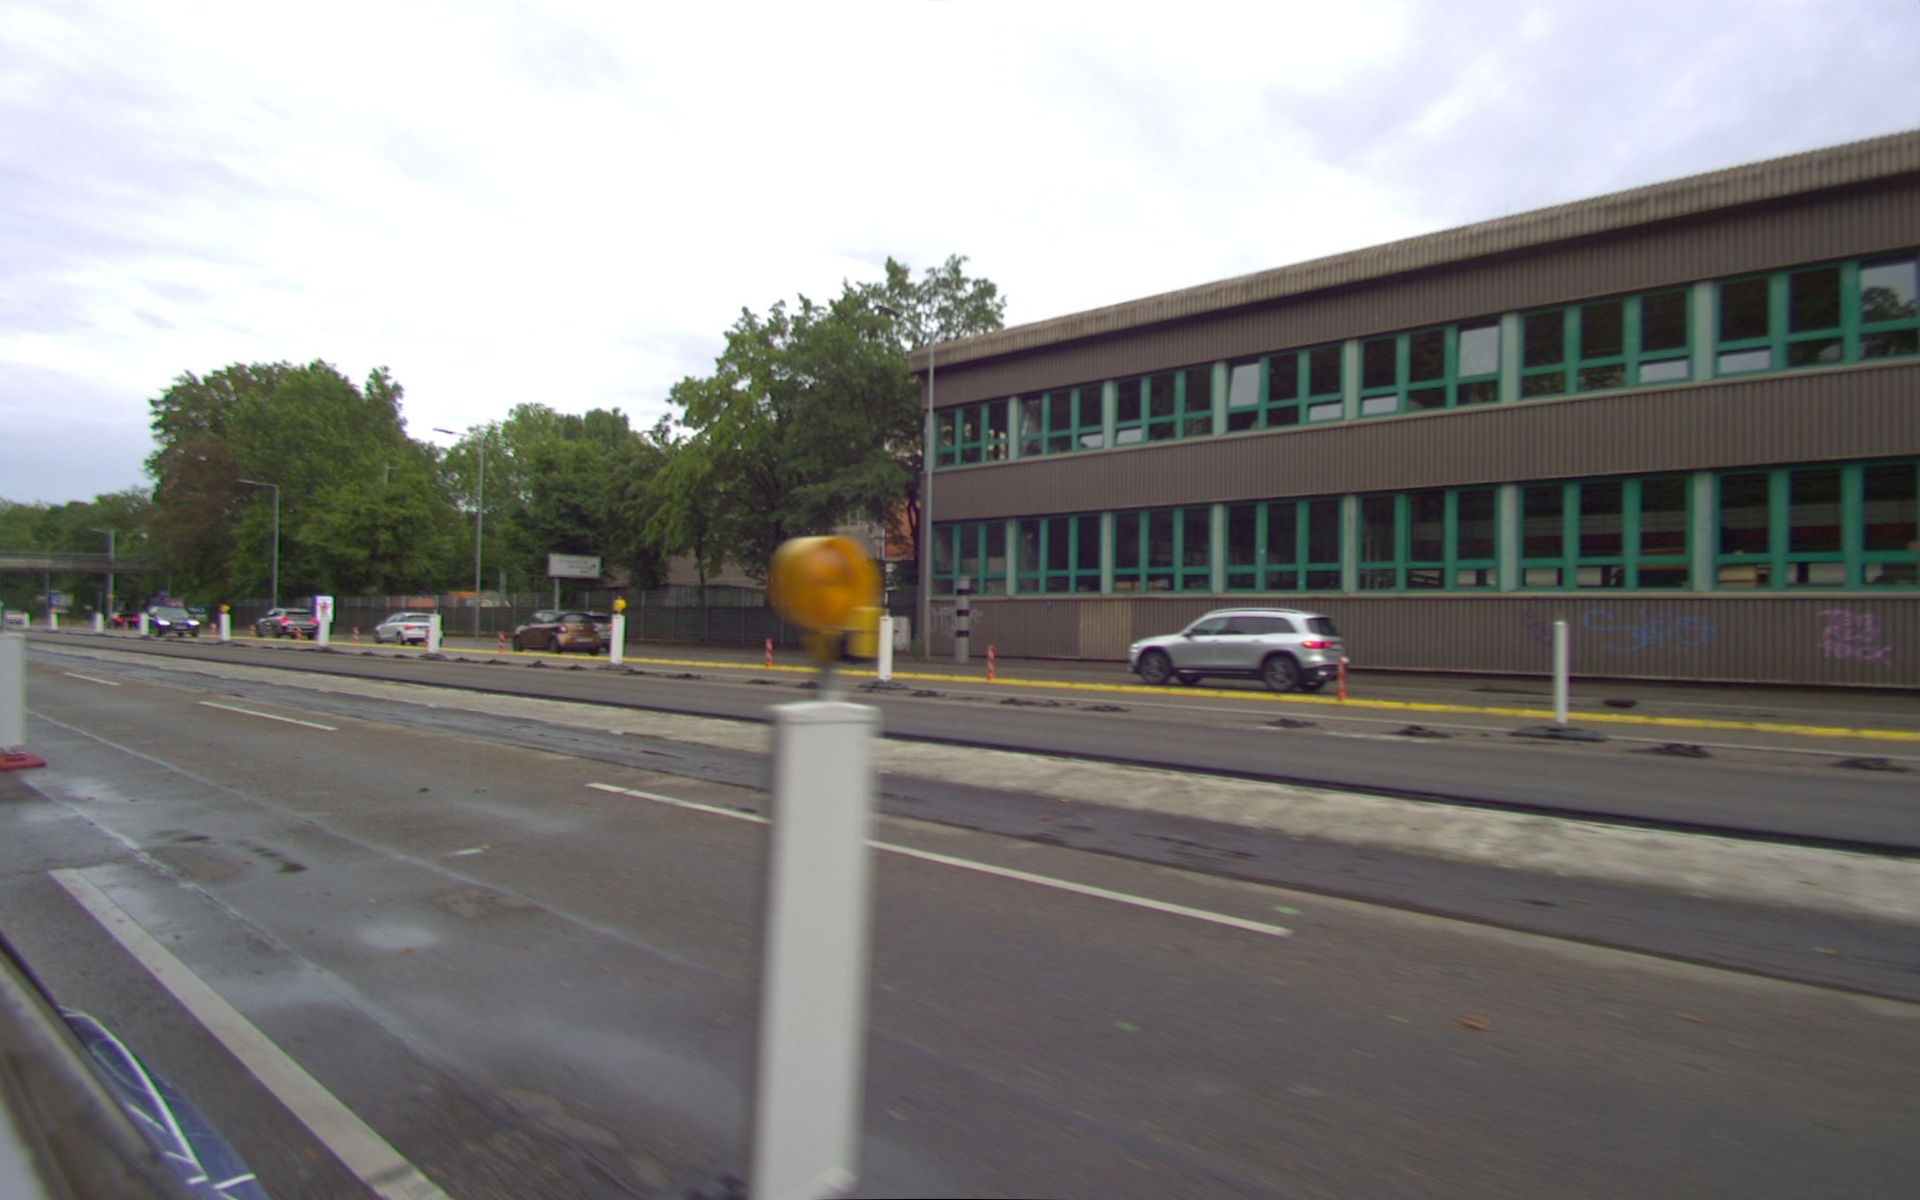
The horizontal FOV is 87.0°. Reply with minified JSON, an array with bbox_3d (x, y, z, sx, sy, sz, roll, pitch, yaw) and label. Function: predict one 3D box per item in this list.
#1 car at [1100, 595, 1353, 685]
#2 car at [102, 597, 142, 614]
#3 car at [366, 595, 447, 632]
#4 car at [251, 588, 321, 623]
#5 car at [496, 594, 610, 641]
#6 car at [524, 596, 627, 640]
[{"bbox_3d":[5.619,0.759,21.727,4.930,1.719,1.919,0,0,39],"label":"car"},{"bbox_3d":[-74.885,0.495,90.446,4.260,1.440,1.974,0,-1,39],"label":"car"},{"bbox_3d":[-24.000,0.562,43.831,3.989,1.546,1.785,0,0,40],"label":"car"},{"bbox_3d":[-35.798,0.260,53.727,4.673,1.781,1.968,0,0,42],"label":"car"},{"bbox_3d":[-14.109,0.547,34.984,4.515,1.513,1.874,0,0,42],"label":"car"},{"bbox_3d":[-15.006,0.671,39.430,4.176,1.598,1.973,0,0,40],"label":"car"}]
